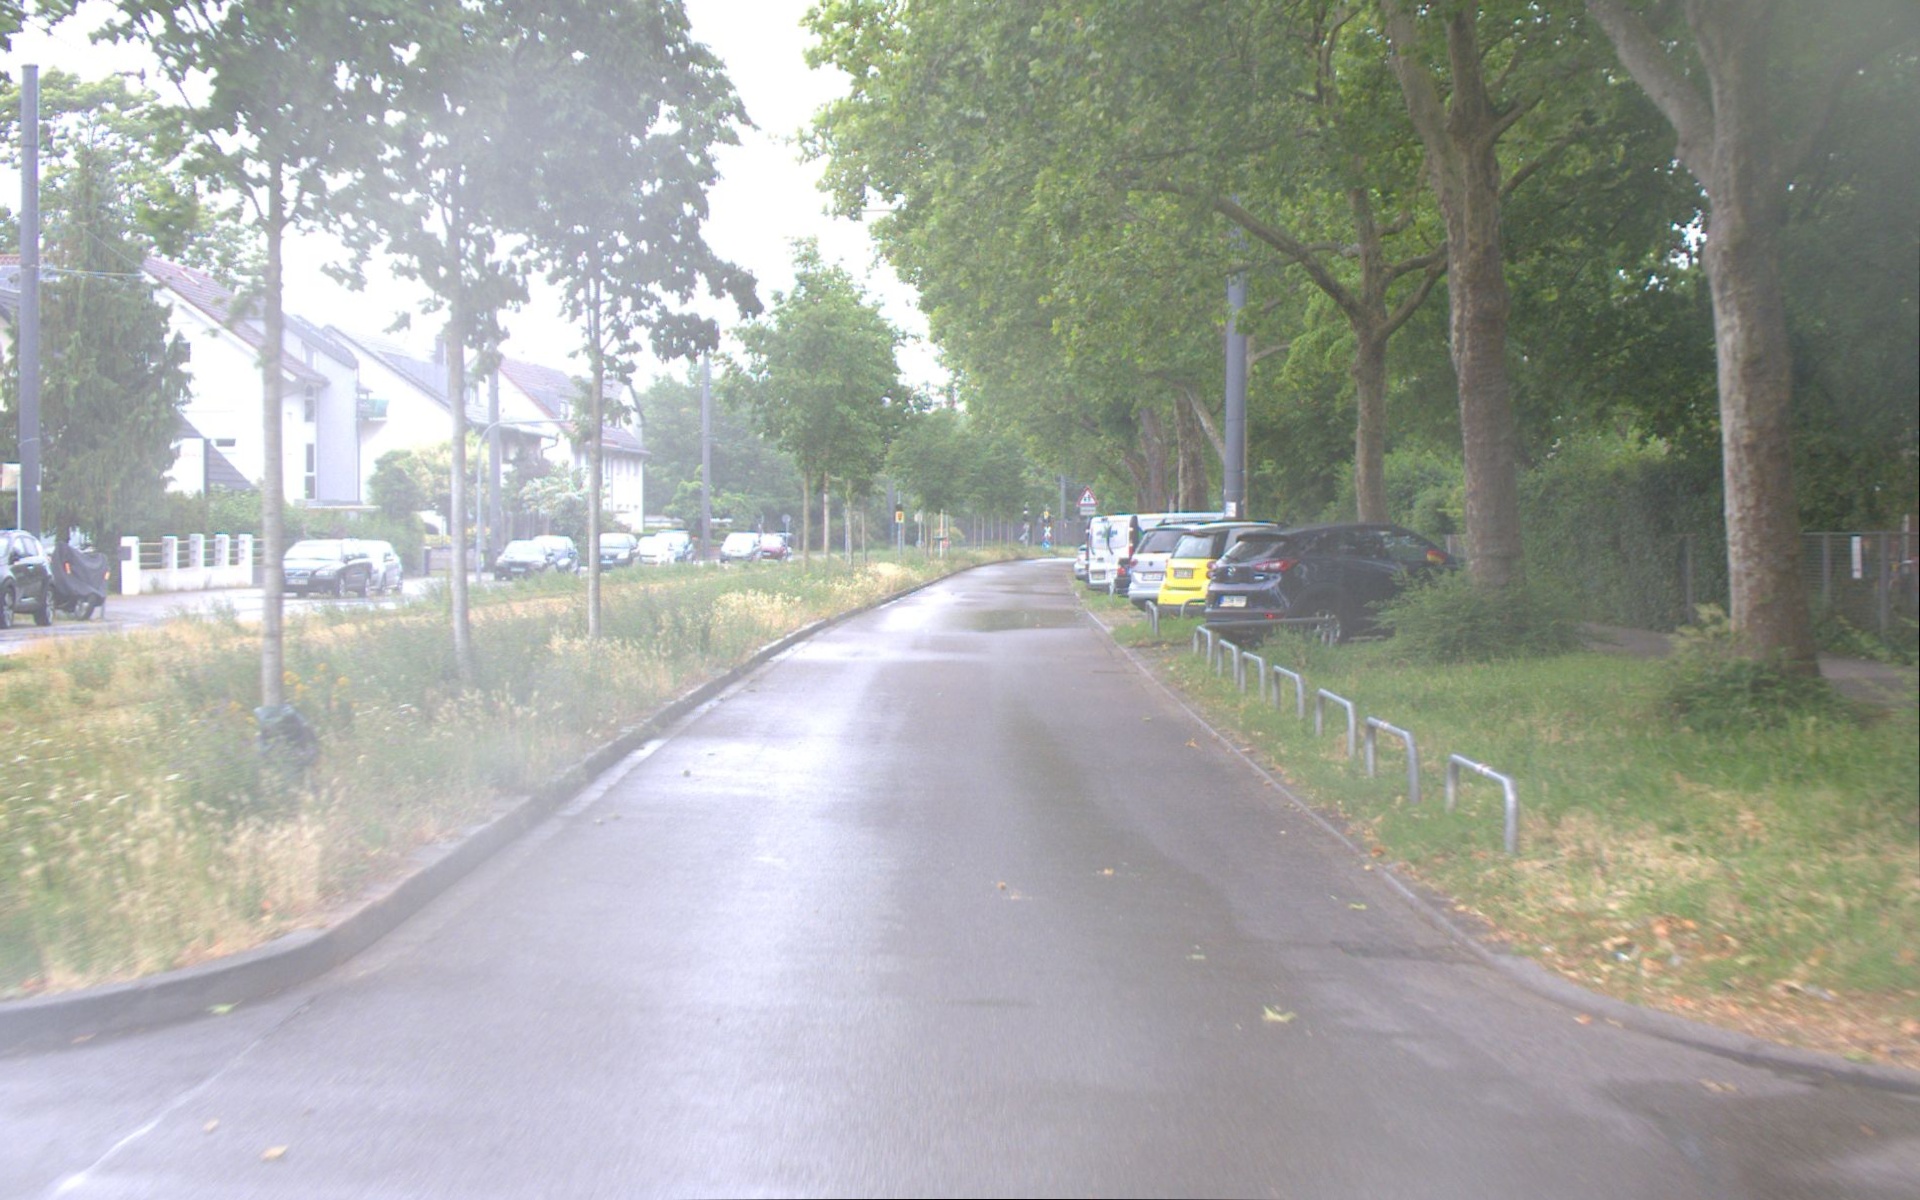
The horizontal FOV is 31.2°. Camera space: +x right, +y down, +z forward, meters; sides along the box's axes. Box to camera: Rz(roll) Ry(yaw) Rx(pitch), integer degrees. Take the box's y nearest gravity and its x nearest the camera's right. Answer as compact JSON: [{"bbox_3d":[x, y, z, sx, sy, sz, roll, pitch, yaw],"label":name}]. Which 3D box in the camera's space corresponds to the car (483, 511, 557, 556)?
[{"bbox_3d":[-15.154,-2.291,118.565,1.928,1.481,4.000,1,1,2],"label":"car"}]

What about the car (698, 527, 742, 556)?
[{"bbox_3d":[-12.740,-3.095,182.967,1.928,1.481,4.000,1,1,2],"label":"car"}]

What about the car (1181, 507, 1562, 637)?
[{"bbox_3d":[4.847,-0.328,40.661,3.986,1.448,2.001,1,1,-16],"label":"car"}]

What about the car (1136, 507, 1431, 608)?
[{"bbox_3d":[4.886,-0.642,52.155,3.986,1.448,2.001,1,1,-16],"label":"car"}]

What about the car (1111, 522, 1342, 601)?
[{"bbox_3d":[5.141,-0.740,66.544,3.986,1.448,2.001,1,1,-16],"label":"car"}]

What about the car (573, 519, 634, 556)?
[{"bbox_3d":[-14.583,-2.552,140.777,1.928,1.481,4.000,1,1,2],"label":"car"}]

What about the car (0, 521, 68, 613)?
[{"bbox_3d":[-16.446,-0.563,57.457,1.928,1.481,4.000,1,1,2],"label":"car"}]

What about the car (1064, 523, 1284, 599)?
[{"bbox_3d":[4.314,-0.794,69.469,3.986,1.448,2.001,1,1,-16],"label":"car"}]

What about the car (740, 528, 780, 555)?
[{"bbox_3d":[-11.464,-3.359,197.092,1.928,1.481,4.000,1,1,2],"label":"car"}]

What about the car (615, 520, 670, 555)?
[{"bbox_3d":[-14.111,-2.777,152.885,1.928,1.481,4.000,1,1,2],"label":"car"}]

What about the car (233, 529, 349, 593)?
[{"bbox_3d":[-16.343,-0.951,84.143,1.928,1.481,4.000,1,1,2],"label":"car"}]

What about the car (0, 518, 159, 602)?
[{"bbox_3d":[-16.435,-0.742,64.122,1.928,1.481,4.000,1,1,2],"label":"car"}]

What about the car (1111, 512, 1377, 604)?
[{"bbox_3d":[4.772,-0.702,57.956,3.986,1.448,2.001,1,1,-16],"label":"car"}]
